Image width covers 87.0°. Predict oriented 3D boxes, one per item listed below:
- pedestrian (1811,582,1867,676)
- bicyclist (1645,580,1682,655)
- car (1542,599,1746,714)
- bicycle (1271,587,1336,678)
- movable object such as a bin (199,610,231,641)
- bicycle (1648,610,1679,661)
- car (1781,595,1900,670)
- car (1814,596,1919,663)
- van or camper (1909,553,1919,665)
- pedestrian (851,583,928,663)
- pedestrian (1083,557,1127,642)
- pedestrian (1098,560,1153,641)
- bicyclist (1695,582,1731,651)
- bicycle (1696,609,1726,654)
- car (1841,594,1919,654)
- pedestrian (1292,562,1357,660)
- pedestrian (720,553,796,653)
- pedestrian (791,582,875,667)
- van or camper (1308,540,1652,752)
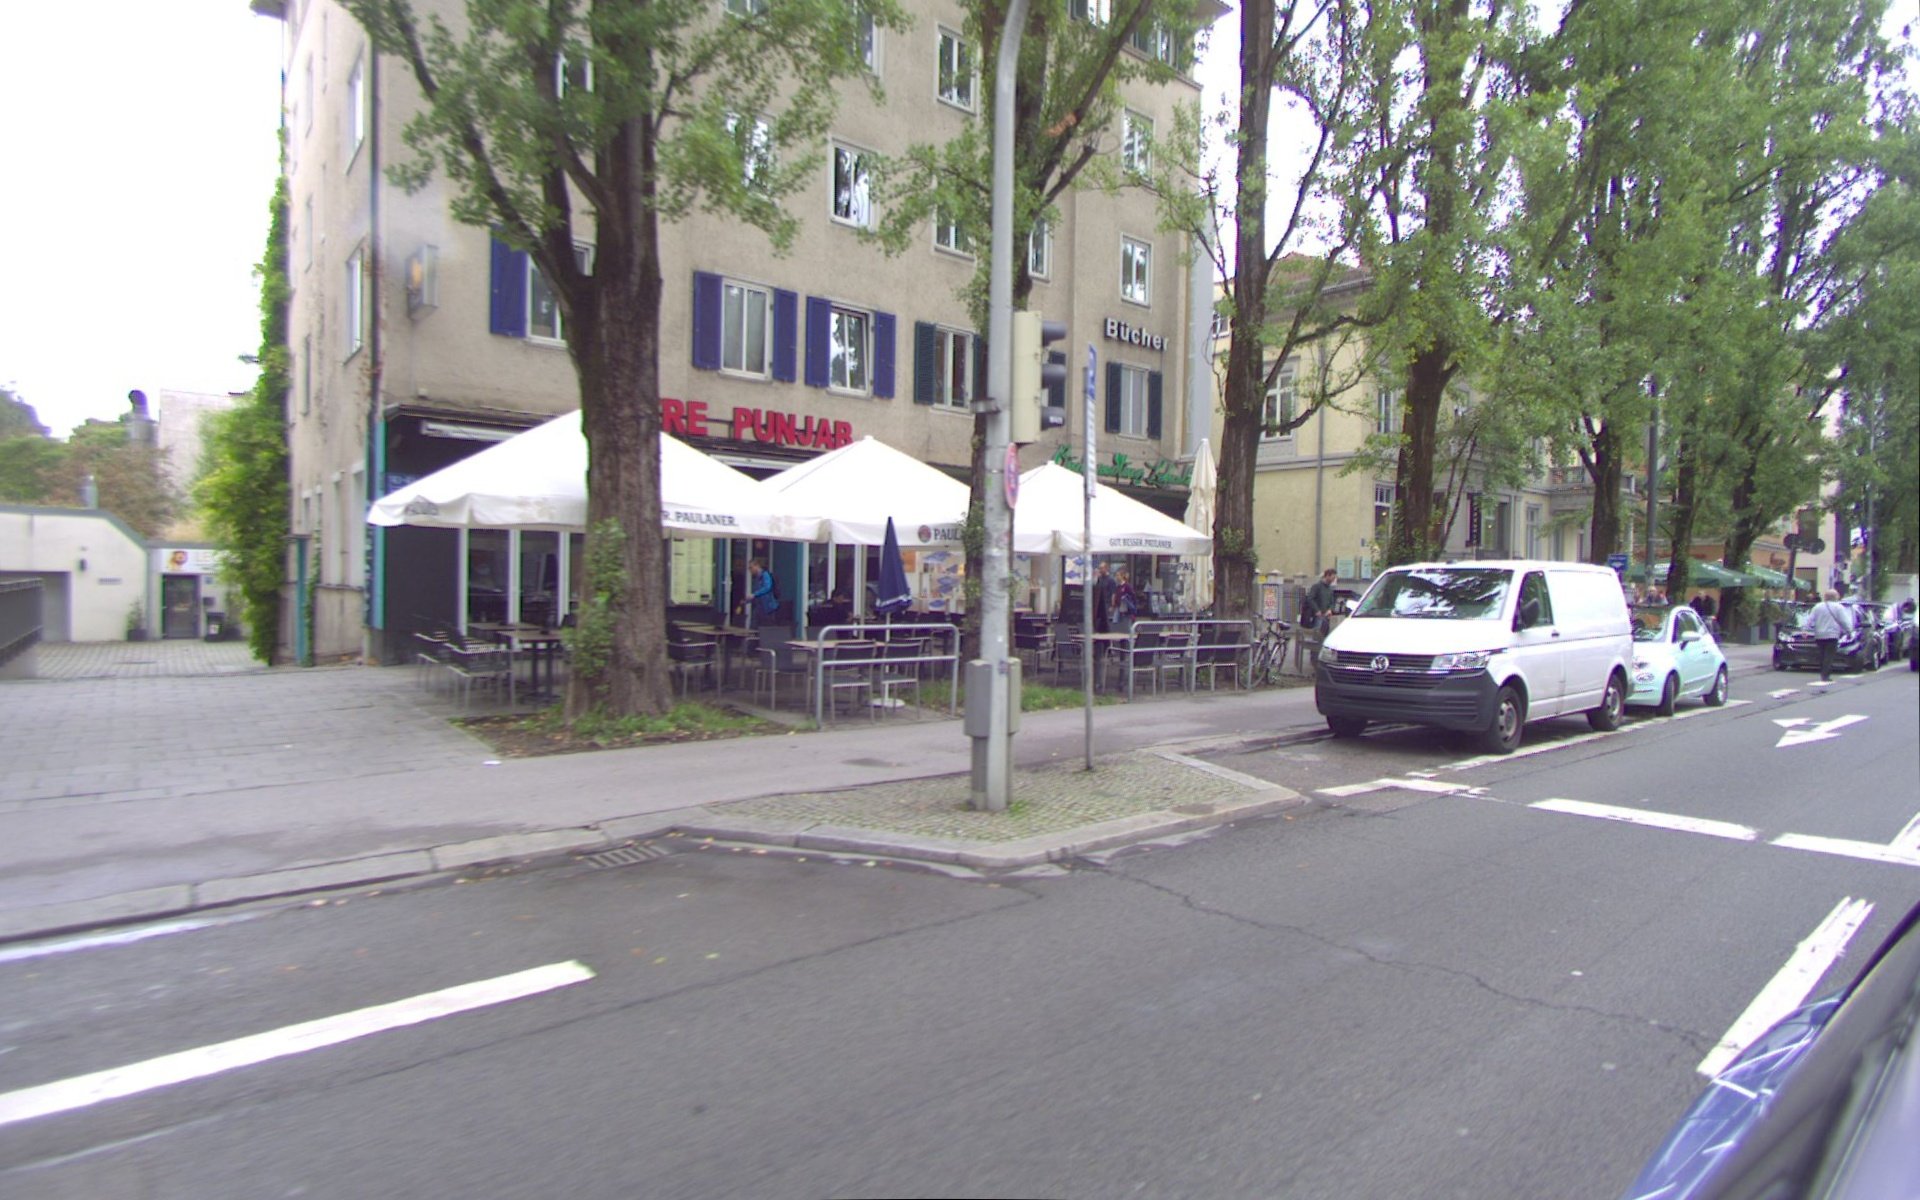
[{"bbox_3d":[17.190,0.546,19.808,0.787,1.779,0.758,1,0,40],"label":"pedestrian"},{"bbox_3d":[16.049,0.390,23.093,0.650,1.671,0.567,0,0,-43],"label":"bicyclist"},{"bbox_3d":[9.826,0.716,14.463,3.420,1.414,1.476,0,1,-39],"label":"car"},{"bbox_3d":[5.901,0.507,17.287,0.819,1.429,2.578,1,0,24],"label":"bicycle"},{"bbox_3d":[-26.214,0.885,35.603,0.889,1.056,0.888,0,0,-38],"label":"movable object such as a bin"},{"bbox_3d":[16.119,0.801,23.178,1.350,1.107,0.285,0,1,-43],"label":"bicycle"},{"bbox_3d":[20.101,0.689,23.061,3.537,1.546,1.475,0,1,-39],"label":"car"},{"bbox_3d":[22.988,0.688,25.614,3.537,1.546,1.476,0,1,-39],"label":"car"},{"bbox_3d":[24.493,0.217,24.074,6.524,2.516,1.998,0,0,-40],"label":"van or camper"},{"bbox_3d":[-1.117,0.345,16.079,1.004,1.231,0.668,1,0,-36],"label":"pedestrian"},{"bbox_3d":[3.055,-0.018,21.312,0.668,1.741,0.629,1,0,-39],"label":"pedestrian"},{"bbox_3d":[3.382,0.007,20.664,0.858,1.597,0.696,1,0,-39],"label":"pedestrian"},{"bbox_3d":[19.144,0.404,25.724,0.806,1.699,0.584,0,1,-43],"label":"bicyclist"},{"bbox_3d":[19.098,0.783,25.741,1.350,1.107,0.338,0,1,-43],"label":"bicycle"},{"bbox_3d":[26.364,0.642,28.704,3.537,1.546,1.476,0,1,-39],"label":"car"},{"bbox_3d":[6.839,0.203,19.035,0.819,1.788,0.945,1,0,-3],"label":"pedestrian"},{"bbox_3d":[-3.401,0.042,17.031,0.998,1.624,0.764,1,0,-39],"label":"pedestrian"},{"bbox_3d":[-1.924,0.354,15.337,1.004,1.231,0.775,1,0,-36],"label":"pedestrian"},{"bbox_3d":[5.962,0.409,11.356,4.483,1.929,1.795,0,1,-39],"label":"van or camper"}]
